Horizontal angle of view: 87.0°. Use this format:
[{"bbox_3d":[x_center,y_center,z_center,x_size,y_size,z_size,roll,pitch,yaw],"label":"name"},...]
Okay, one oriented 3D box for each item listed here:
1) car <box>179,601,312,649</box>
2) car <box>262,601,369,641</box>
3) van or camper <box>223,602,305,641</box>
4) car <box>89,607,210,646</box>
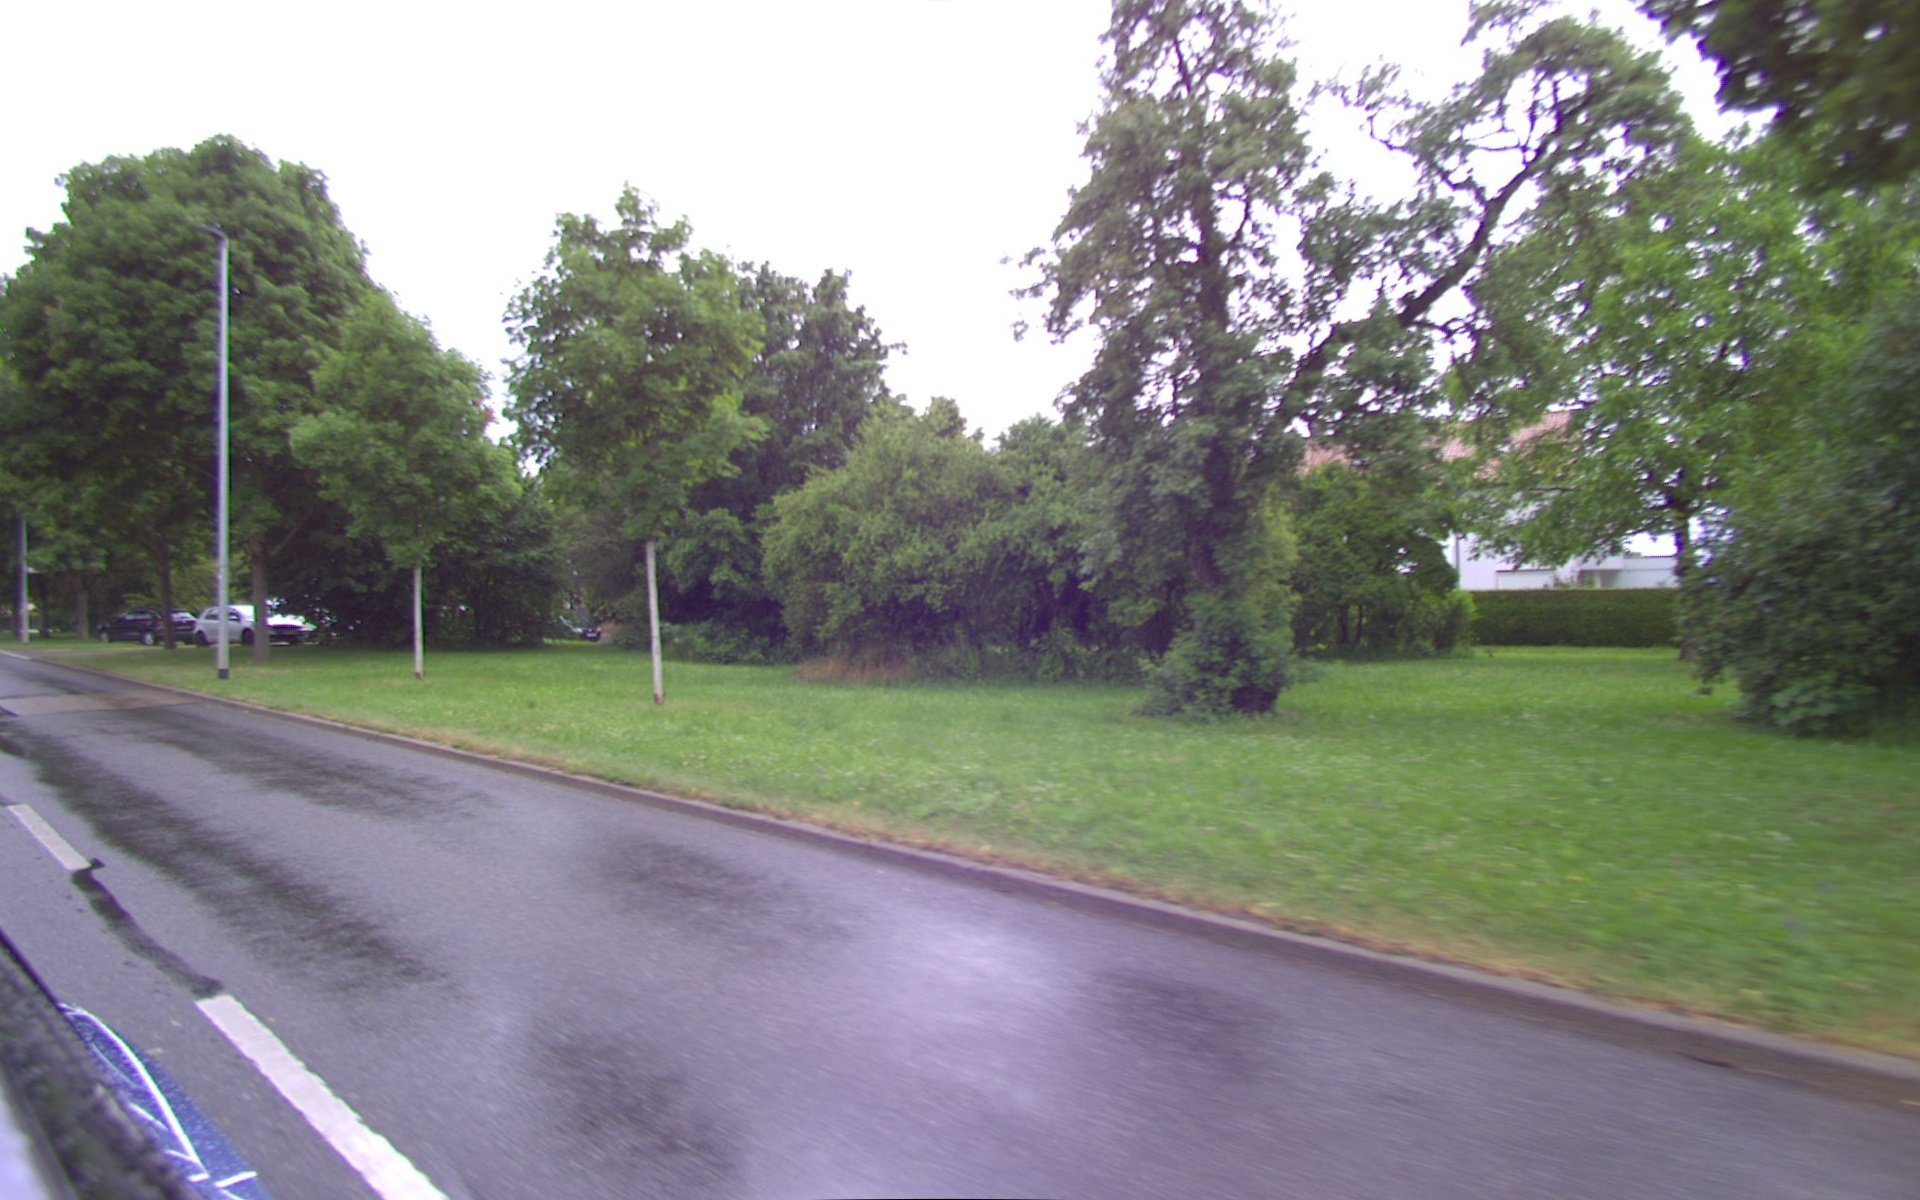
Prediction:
[{"bbox_3d":[-24.767,0.874,35.058,4.190,1.441,1.872,-4,-2,24],"label":"car"},{"bbox_3d":[-31.154,0.994,48.893,4.865,1.783,1.896,1,0,22],"label":"car"},{"bbox_3d":[-43.684,1.370,63.446,6.135,2.353,2.073,-1,-1,33],"label":"van or camper"},{"bbox_3d":[-33.518,1.084,41.862,4.213,1.525,1.884,0,-1,17],"label":"car"}]
